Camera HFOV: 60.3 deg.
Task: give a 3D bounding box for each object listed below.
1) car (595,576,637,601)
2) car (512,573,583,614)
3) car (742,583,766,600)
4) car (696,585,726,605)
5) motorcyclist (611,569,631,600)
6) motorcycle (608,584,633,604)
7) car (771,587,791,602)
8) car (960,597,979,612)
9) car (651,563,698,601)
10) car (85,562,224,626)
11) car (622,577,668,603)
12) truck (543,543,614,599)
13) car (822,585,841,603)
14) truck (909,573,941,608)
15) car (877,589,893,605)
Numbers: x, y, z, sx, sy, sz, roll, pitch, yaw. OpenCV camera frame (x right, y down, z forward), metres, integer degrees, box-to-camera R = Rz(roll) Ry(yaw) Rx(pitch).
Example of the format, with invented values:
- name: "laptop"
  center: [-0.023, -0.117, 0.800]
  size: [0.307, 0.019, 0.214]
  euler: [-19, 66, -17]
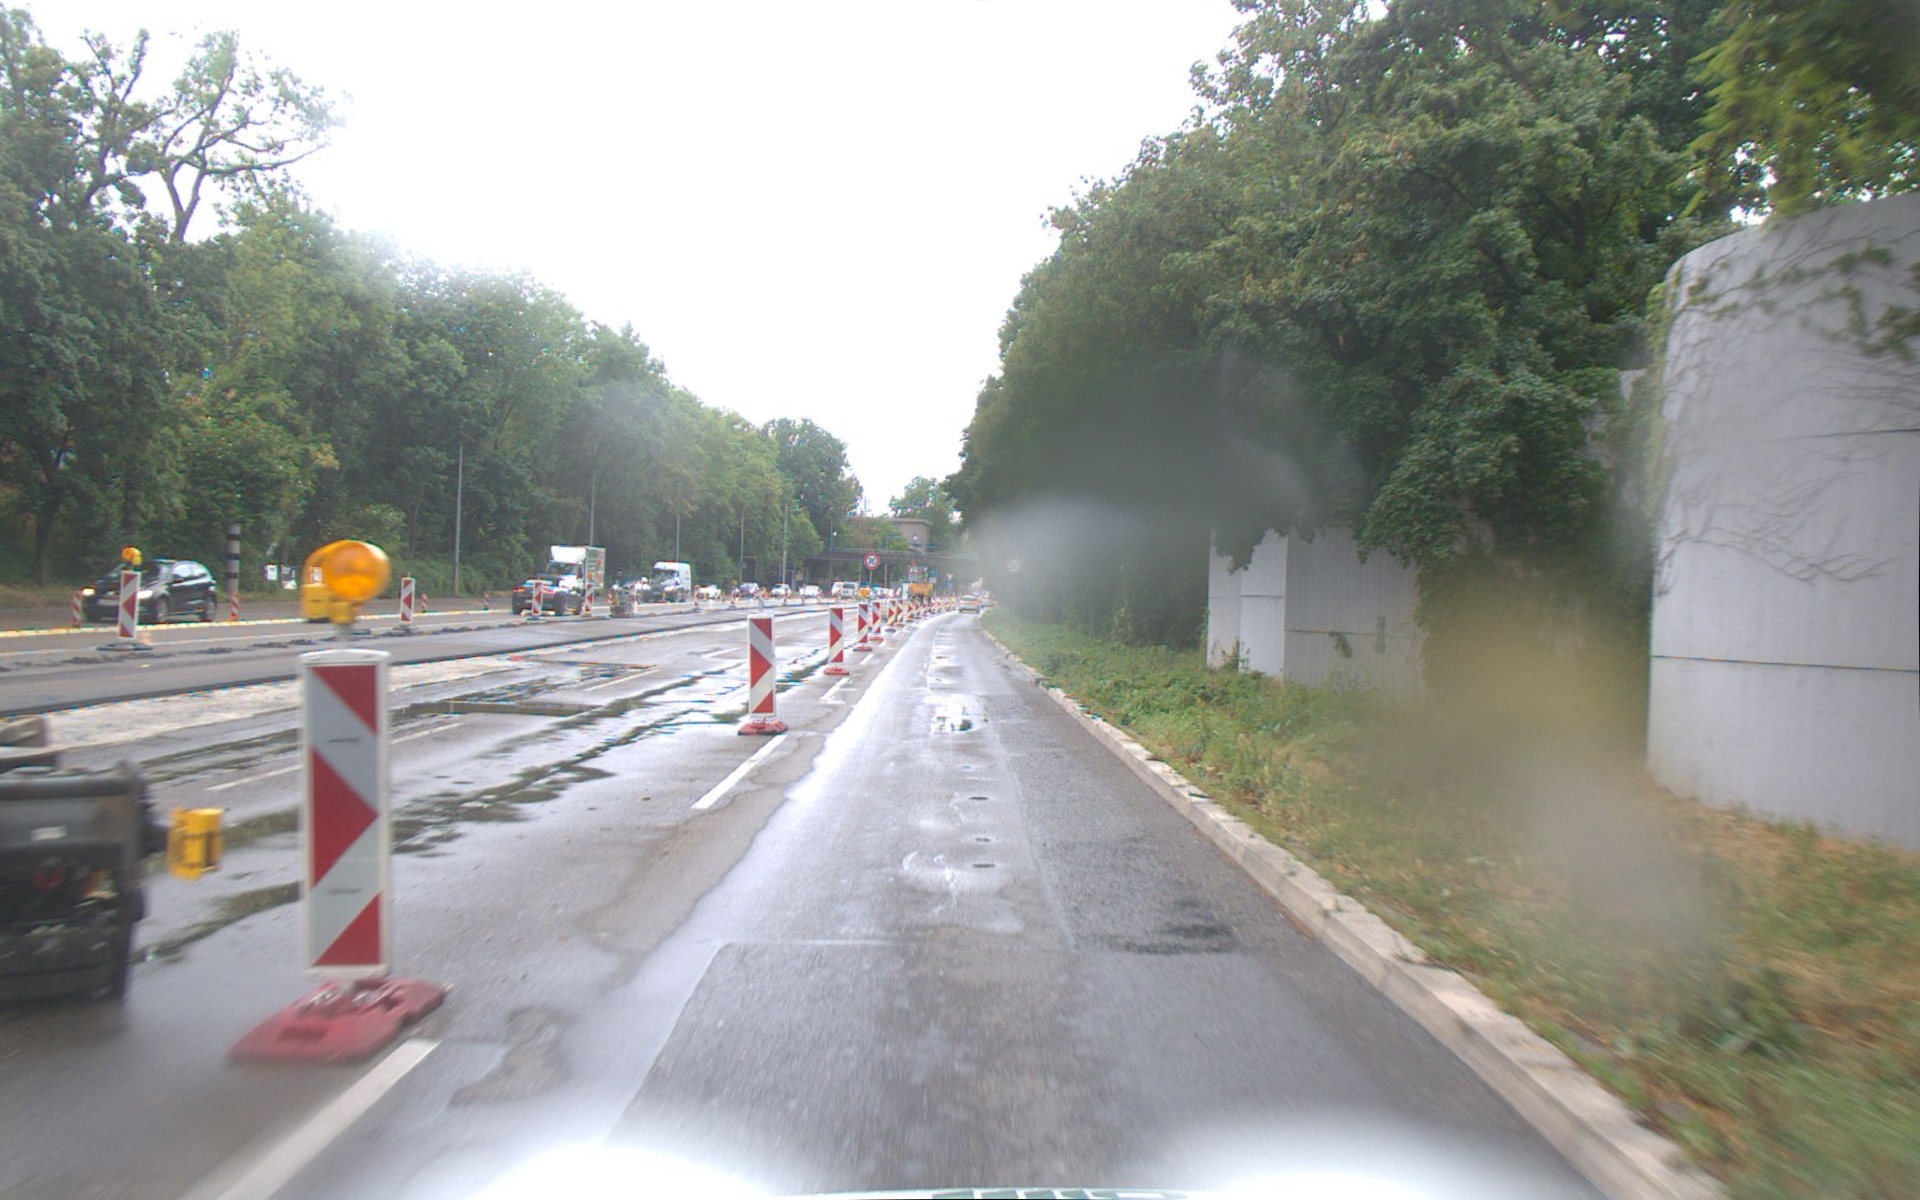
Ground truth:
- name: "car"
  center: [-21.707, -0.735, 104.451]
  size: [1.635, 1.511, 4.320]
  euler: [2, 0, 1]
- name: "car"
  center: [-15.384, -0.239, 61.872]
  size: [1.574, 1.429, 4.041]
  euler: [2, 0, 1]
- name: "car"
  center: [-19.350, -0.823, 155.601]
  size: [1.635, 1.511, 4.320]
  euler: [2, 0, 1]
- name: "car"
  center: [-20.174, -0.424, 134.136]
  size: [1.635, 1.511, 4.320]
  euler: [2, 0, 1]
- name: "motorcyclist"
  center: [-18.089, -0.836, 88.281]
  size: [0.811, 1.592, 0.926]
  euler: [3, 0, -1]
- name: "motorcycle"
  center: [-18.116, -0.314, 88.218]
  size: [0.811, 1.032, 2.366]
  euler: [3, 0, -1]
- name: "car"
  center: [-18.749, -0.626, 173.471]
  size: [1.635, 1.511, 4.050]
  euler: [2, 0, 1]
- name: "car"
  center: [0.797, 0.404, 146.315]
  size: [1.663, 1.359, 3.491]
  euler: [0, 0, 0]
- name: "car"
  center: [-20.491, -1.285, 119.055]
  size: [2.056, 2.624, 6.854]
  euler: [2, 0, 1]
- name: "car"
  center: [-18.488, -0.139, 38.122]
  size: [1.419, 1.355, 3.859]
  euler: [2, 0, -3]
- name: "car"
  center: [-19.538, -0.626, 102.809]
  size: [1.919, 1.557, 4.437]
  euler: [2, 0, 1]
- name: "truck"
  center: [-21.312, -1.584, 92.627]
  size: [2.200, 2.991, 6.935]
  euler: [2, 0, 1]
- name: "car"
  center: [-14.193, -0.671, 183.072]
  size: [1.635, 1.840, 4.320]
  euler: [2, 0, 1]
- name: "truck"
  center: [-3.821, -1.059, 184.150]
  size: [3.193, 3.558, 13.869]
  euler: [2, 0, 0]
- name: "car"
  center: [-9.364, -0.418, 206.498]
  size: [1.635, 1.840, 4.321]
  euler: [2, 1, 1]
